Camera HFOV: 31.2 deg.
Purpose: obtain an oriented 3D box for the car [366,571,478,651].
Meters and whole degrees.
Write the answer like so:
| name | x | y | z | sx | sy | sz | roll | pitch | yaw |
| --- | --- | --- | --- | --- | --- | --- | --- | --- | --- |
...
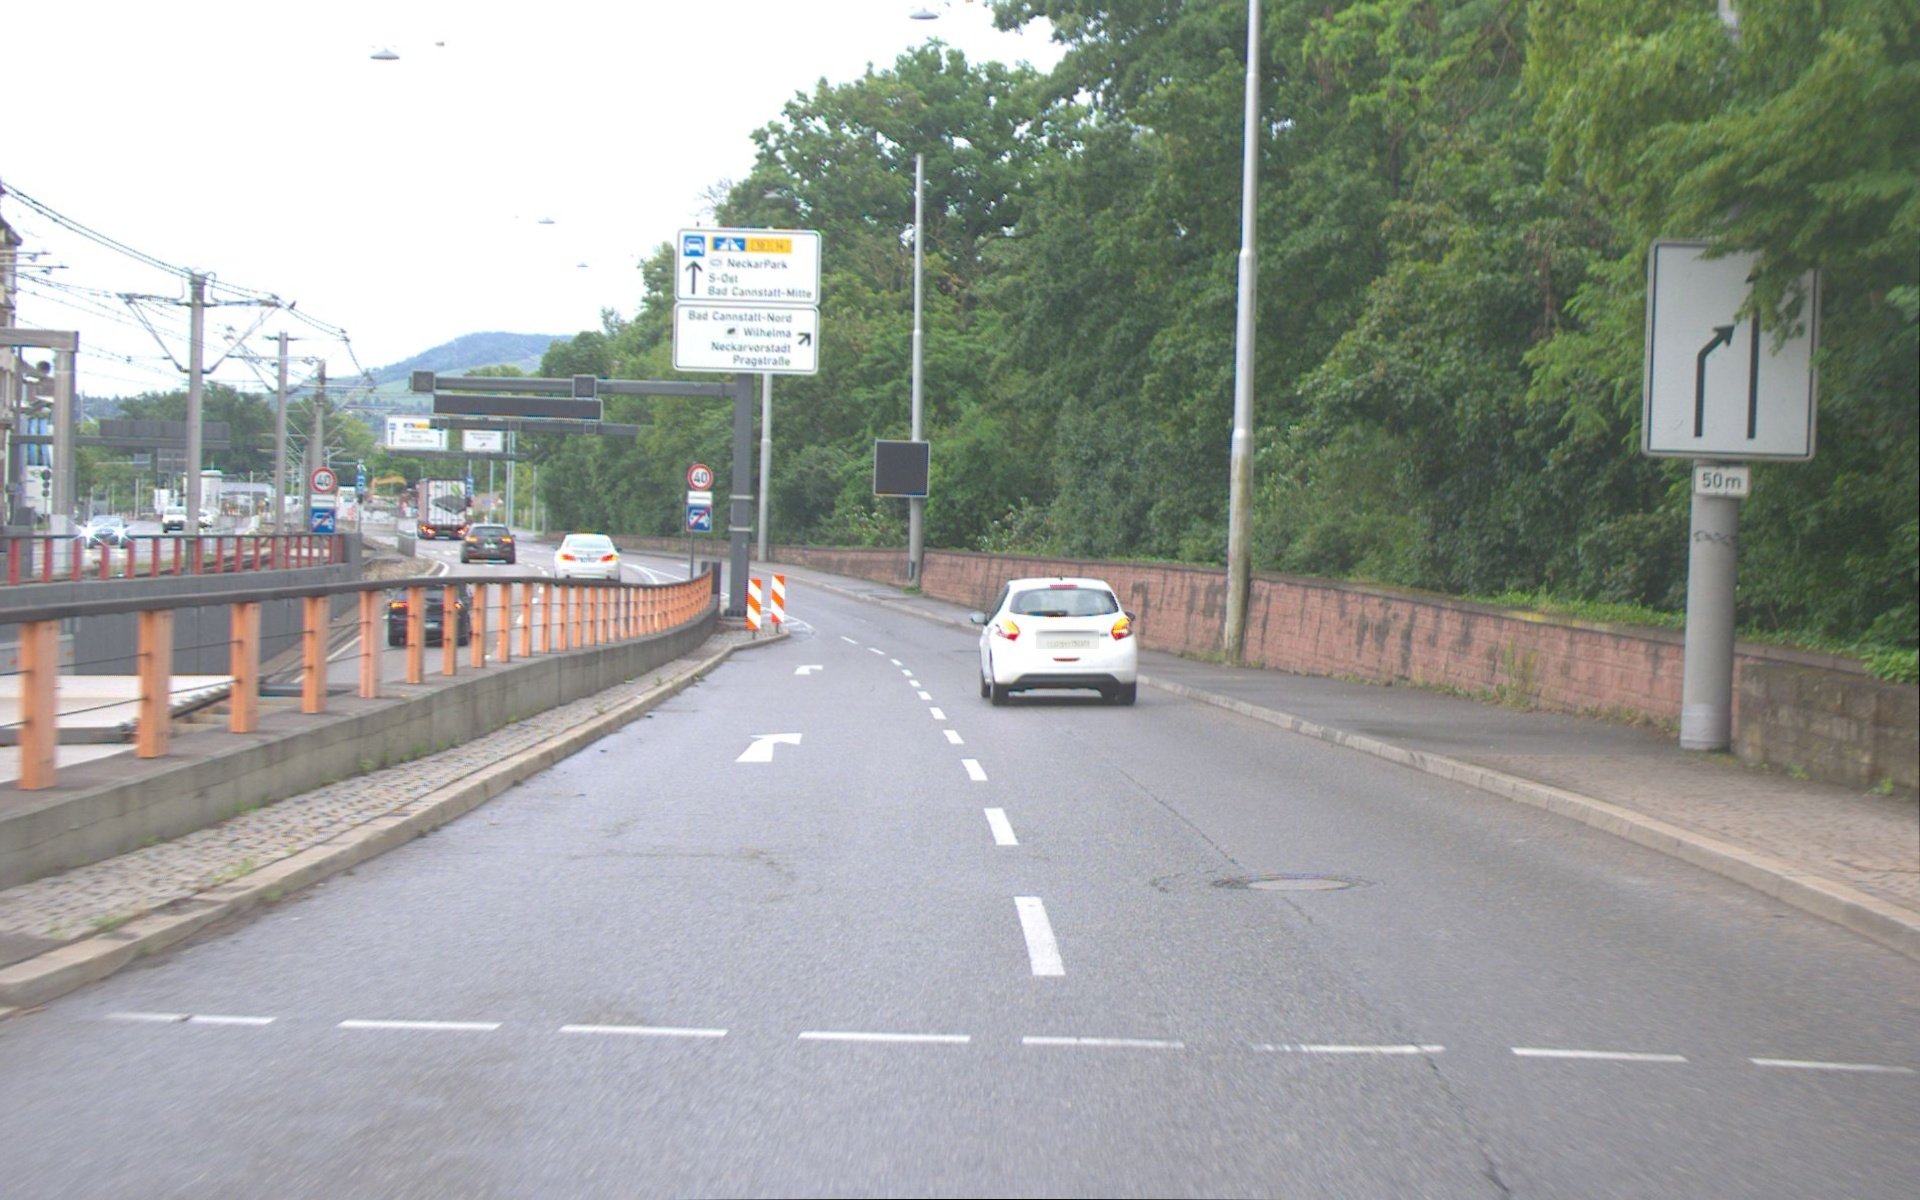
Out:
| name | x | y | z | sx | sy | sz | roll | pitch | yaw |
| --- | --- | --- | --- | --- | --- | --- | --- | --- | --- |
| car | -11.876 | 0.221 | 76.058 | 1.993 | 1.570 | 4.001 | 0 | 2 | -2 |

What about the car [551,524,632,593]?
| name | x | y | z | sx | sy | sz | roll | pitch | yaw |
| --- | --- | --- | --- | --- | --- | --- | --- | --- | --- |
| car | -10.592 | -1.206 | 98.597 | 2.081 | 1.866 | 4.097 | 0 | 2 | -9 |

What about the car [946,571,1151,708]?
| name | x | y | z | sx | sy | sz | roll | pitch | yaw |
| --- | --- | --- | --- | --- | --- | --- | --- | --- | --- |
| car | 0.990 | 0.446 | 40.745 | 1.955 | 1.483 | 4.001 | 2 | 0 | -5 |

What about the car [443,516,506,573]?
| name | x | y | z | sx | sy | sz | roll | pitch | yaw |
| --- | --- | --- | --- | --- | --- | --- | --- | --- | --- |
| car | -16.751 | -1.925 | 118.540 | 1.993 | 1.866 | 4.002 | 0 | 2 | -10 |

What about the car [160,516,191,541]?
| name | x | y | z | sx | sy | sz | roll | pitch | yaw |
| --- | --- | --- | --- | --- | --- | --- | --- | --- | --- |
| car | -56.881 | -5.213 | 249.268 | 1.825 | 1.579 | 3.833 | 1 | 4 | -8 |

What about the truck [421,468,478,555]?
| name | x | y | z | sx | sy | sz | roll | pitch | yaw |
| --- | --- | --- | --- | --- | --- | --- | --- | --- | --- |
| truck | -33.990 | -5.828 | 228.524 | 3.464 | 5.382 | 12.054 | 2 | 0 | -9 |
